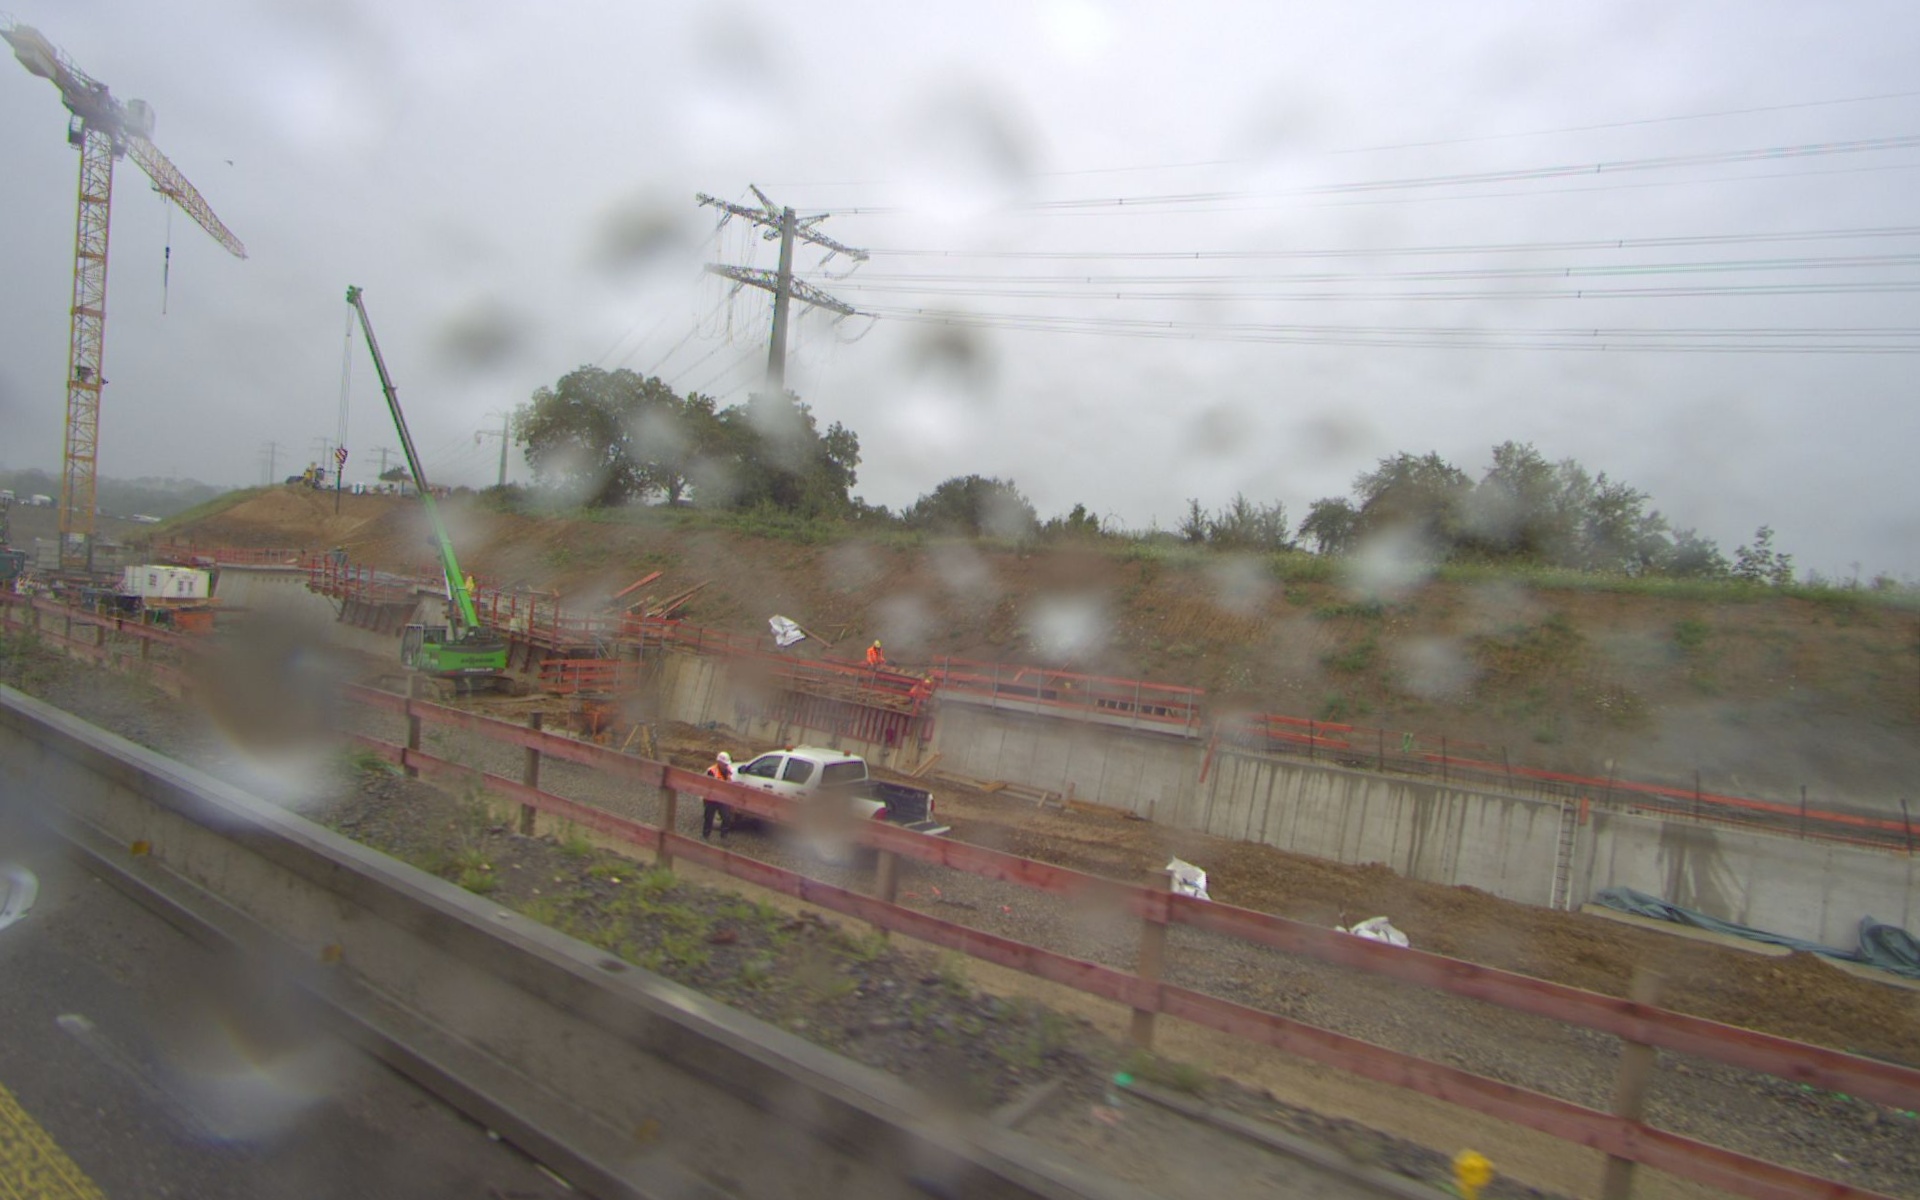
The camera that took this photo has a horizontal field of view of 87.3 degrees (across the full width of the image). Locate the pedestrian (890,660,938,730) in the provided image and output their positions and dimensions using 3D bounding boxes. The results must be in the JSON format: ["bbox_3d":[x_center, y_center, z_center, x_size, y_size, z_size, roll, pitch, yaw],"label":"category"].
[{"bbox_3d":[-1.590,3.296,34.960,0.991,2.253,0.917,5,-6,38],"label":"pedestrian"}]

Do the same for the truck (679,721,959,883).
[{"bbox_3d":[-2.921,3.800,19.884,5.696,1.894,1.762,6,0,35],"label":"truck"}]

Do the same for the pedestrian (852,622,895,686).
[{"bbox_3d":[-3.324,2.074,38.799,0.989,2.267,0.919,6,-6,31],"label":"pedestrian"}]

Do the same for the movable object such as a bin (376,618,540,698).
[{"bbox_3d":[-19.704,2.289,39.528,4.782,2.835,3.796,0,-4,34],"label":"movable object such as a bin"}]

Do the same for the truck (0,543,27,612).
[{"bbox_3d":[-57.123,-1.573,58.488,8.816,3.544,2.699,6,-2,39],"label":"truck"}]

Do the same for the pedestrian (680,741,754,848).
[{"bbox_3d":[-4.614,3.663,19.107,0.797,1.822,0.934,6,1,33],"label":"pedestrian"}]
